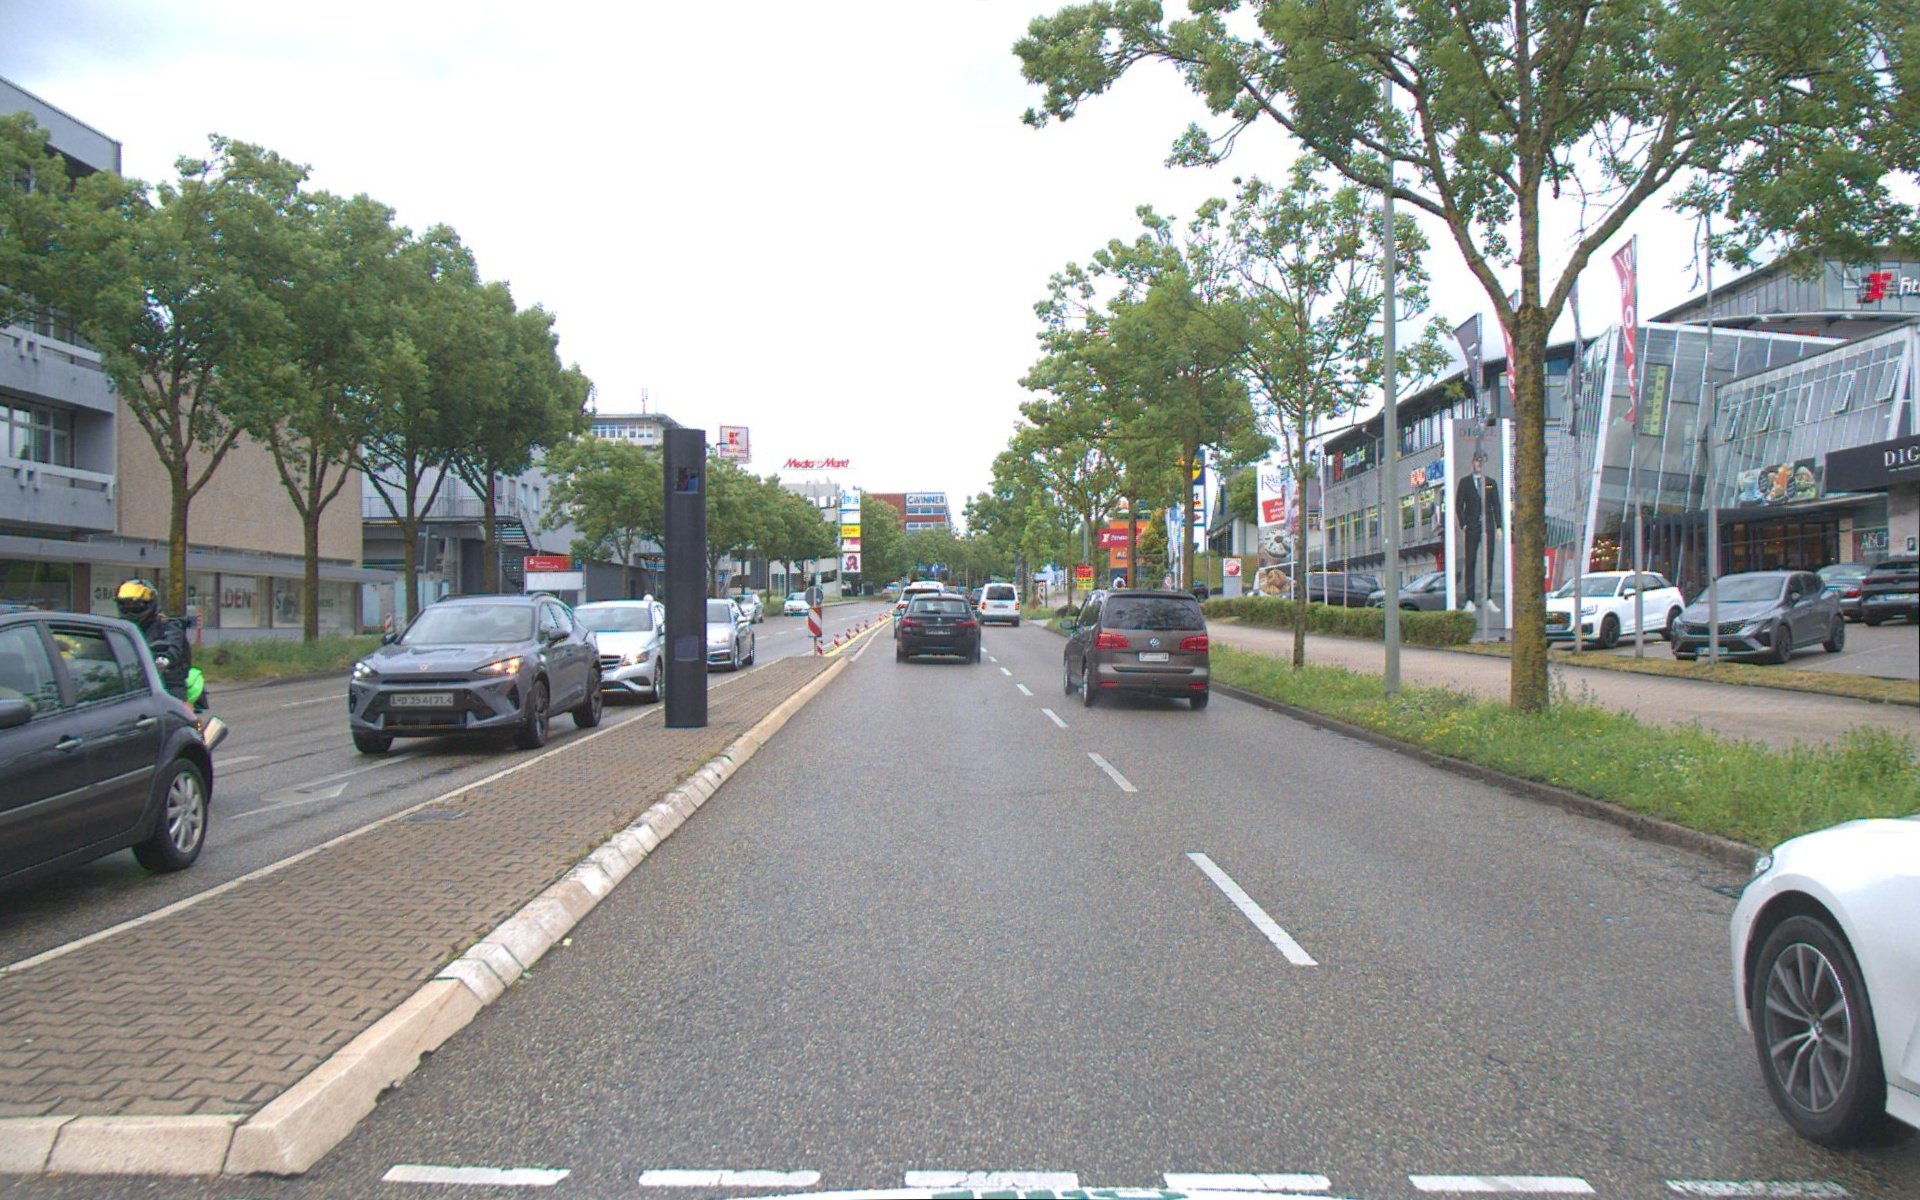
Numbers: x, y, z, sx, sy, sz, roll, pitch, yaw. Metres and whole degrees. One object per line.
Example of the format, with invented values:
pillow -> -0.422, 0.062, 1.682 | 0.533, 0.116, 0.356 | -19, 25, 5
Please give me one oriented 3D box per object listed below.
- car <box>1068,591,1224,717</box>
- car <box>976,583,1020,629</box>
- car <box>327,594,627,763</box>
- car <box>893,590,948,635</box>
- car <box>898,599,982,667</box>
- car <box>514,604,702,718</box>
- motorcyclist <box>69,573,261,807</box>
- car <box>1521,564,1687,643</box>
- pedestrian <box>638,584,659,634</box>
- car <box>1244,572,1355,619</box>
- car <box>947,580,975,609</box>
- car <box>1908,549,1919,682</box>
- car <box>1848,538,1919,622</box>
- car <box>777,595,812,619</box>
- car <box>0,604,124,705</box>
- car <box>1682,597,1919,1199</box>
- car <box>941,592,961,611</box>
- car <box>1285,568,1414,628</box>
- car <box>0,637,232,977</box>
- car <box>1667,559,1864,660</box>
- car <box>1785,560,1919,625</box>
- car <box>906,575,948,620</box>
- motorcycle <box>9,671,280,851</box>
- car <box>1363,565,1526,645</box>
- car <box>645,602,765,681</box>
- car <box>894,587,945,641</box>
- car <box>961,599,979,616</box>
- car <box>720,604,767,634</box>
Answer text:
car -> 2.599, 0.715, 24.032 | 1.764, 1.615, 4.450 | 1, 0, 0
car -> 1.634, 0.248, 71.719 | 1.745, 1.899, 3.999 | -1, 0, -1
car -> -4.919, 0.721, 17.585 | 1.709, 1.515, 4.829 | -1, 0, 1
car -> -1.342, 0.411, 54.711 | 1.649, 1.401, 3.997 | -1, 0, -4
car -> -0.444, 0.698, 36.465 | 1.745, 1.422, 3.999 | 0, 0, -1
car -> -5.094, 0.819, 24.607 | 1.804, 1.401, 4.861 | -4, 0, -2
motorcyclist -> -5.686, 0.613, 11.912 | 0.790, 1.586, 1.267 | 0, 0, -2
car -> 13.699, 0.059, 35.122 | 3.565, 1.563, 1.771 | -2, 0, -40
pedestrian -> -14.298, 0.408, 75.961 | 0.842, 2.257, 0.845 | 0, 0, -3
car -> 13.124, -0.169, 64.140 | 4.024, 1.733, 1.801 | 0, 0, 5
car -> 0.078, -0.313, 103.094 | 1.650, 1.713, 3.402 | 1, -1, 0
car -> 14.277, 0.102, 21.678 | 3.990, 1.692, 1.954 | -3, 1, -40
car -> 21.816, -0.445, 37.329 | 4.115, 1.802, 1.713 | -1, 0, -40
car -> -10.415, 0.436, 104.379 | 1.904, 1.474, 3.999 | 0, 0, -1
car -> -16.293, 0.917, 28.293 | 3.917, 1.579, 1.894 | -1, 0, 34
car -> 3.382, 0.788, 3.322 | 1.764, 1.571, 4.618 | 1, -1, -1
car -> -0.732, 0.113, 136.985 | 1.561, 1.500, 3.443 | 1, -1, -1
car -> 13.365, -0.075, 56.920 | 4.026, 1.938, 1.800 | -1, 0, 1
car -> -4.952, 0.921, 7.590 | 1.649, 1.401, 3.997 | -1, 0, -4
car -> 13.387, 0.142, 27.419 | 3.565, 1.563, 1.620 | -1, 0, -40
car -> 22.276, -0.205, 40.877 | 4.114, 1.494, 1.806 | -2, 0, -39
car -> -1.576, -0.101, 80.576 | 1.953, 2.049, 3.999 | 1, -1, 0
motorcycle -> -5.682, 1.078, 11.723 | 0.790, 0.993, 2.322 | -3, 0, -2
car -> 13.456, 0.141, 46.069 | 4.026, 2.142, 1.800 | -1, 0, 1
car -> -5.143, 0.807, 33.908 | 1.688, 1.422, 4.788 | -3, 0, -1
car -> -1.393, 0.490, 58.563 | 1.745, 1.824, 3.999 | 0, 0, -1
car -> 0.904, 0.718, 152.788 | 1.587, 1.521, 3.359 | 1, -1, -1
car -> -10.919, 0.929, 83.492 | 1.904, 1.478, 3.999 | 0, 0, -1
